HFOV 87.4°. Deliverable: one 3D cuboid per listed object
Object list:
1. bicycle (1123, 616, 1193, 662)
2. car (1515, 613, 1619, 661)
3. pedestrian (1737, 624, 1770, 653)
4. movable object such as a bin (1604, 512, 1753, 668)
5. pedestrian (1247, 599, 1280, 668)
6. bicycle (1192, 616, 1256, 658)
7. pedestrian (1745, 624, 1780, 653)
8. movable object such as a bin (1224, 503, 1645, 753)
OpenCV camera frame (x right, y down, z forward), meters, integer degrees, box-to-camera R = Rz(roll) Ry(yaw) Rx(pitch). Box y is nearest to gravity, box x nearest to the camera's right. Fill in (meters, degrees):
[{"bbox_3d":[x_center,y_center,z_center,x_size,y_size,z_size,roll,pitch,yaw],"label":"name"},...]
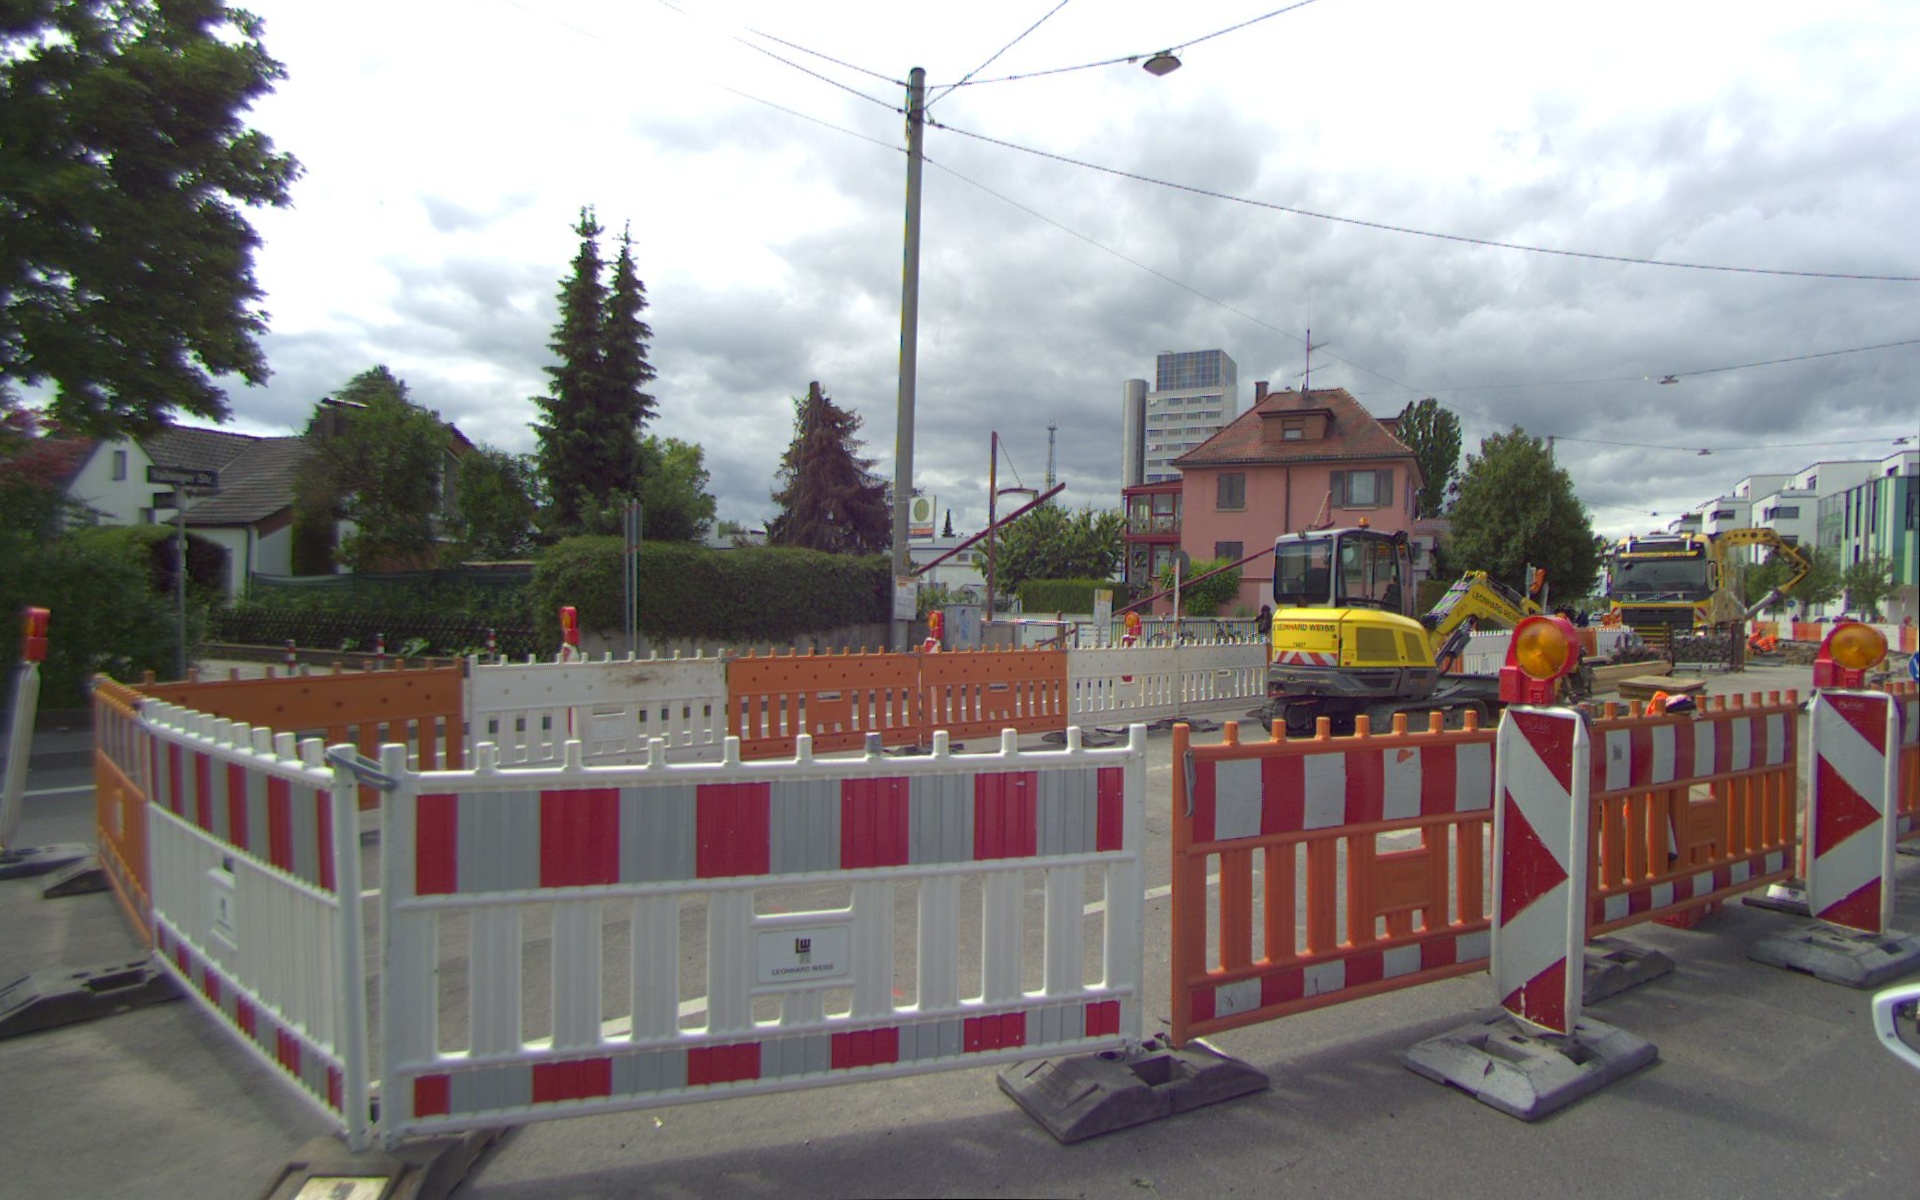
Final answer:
[{"bbox_3d":[4.990,0.950,25.186,2.114,1.097,0.533,1,0,-40],"label":"bicycle"},{"bbox_3d":[21.190,1.245,34.994,4.405,1.533,1.838,1,-1,-41],"label":"car"},{"bbox_3d":[28.844,1.394,36.499,0.782,1.004,0.639,0,0,-23],"label":"pedestrian"},{"bbox_3d":[23.439,-0.218,32.425,2.563,4.277,11.057,0,0,43],"label":"movable object such as a bin"},{"bbox_3d":[8.468,0.919,28.048,0.581,1.911,0.673,0,0,-42],"label":"pedestrian"},{"bbox_3d":[7.105,0.977,26.971,2.114,1.097,0.533,1,0,-40],"label":"bicycle"},{"bbox_3d":[28.451,1.368,35.613,0.803,1.004,0.786,0,0,-33],"label":"pedestrian"},{"bbox_3d":[6.489,0.332,13.332,6.452,2.660,1.982,1,0,-33],"label":"movable object such as a bin"}]
